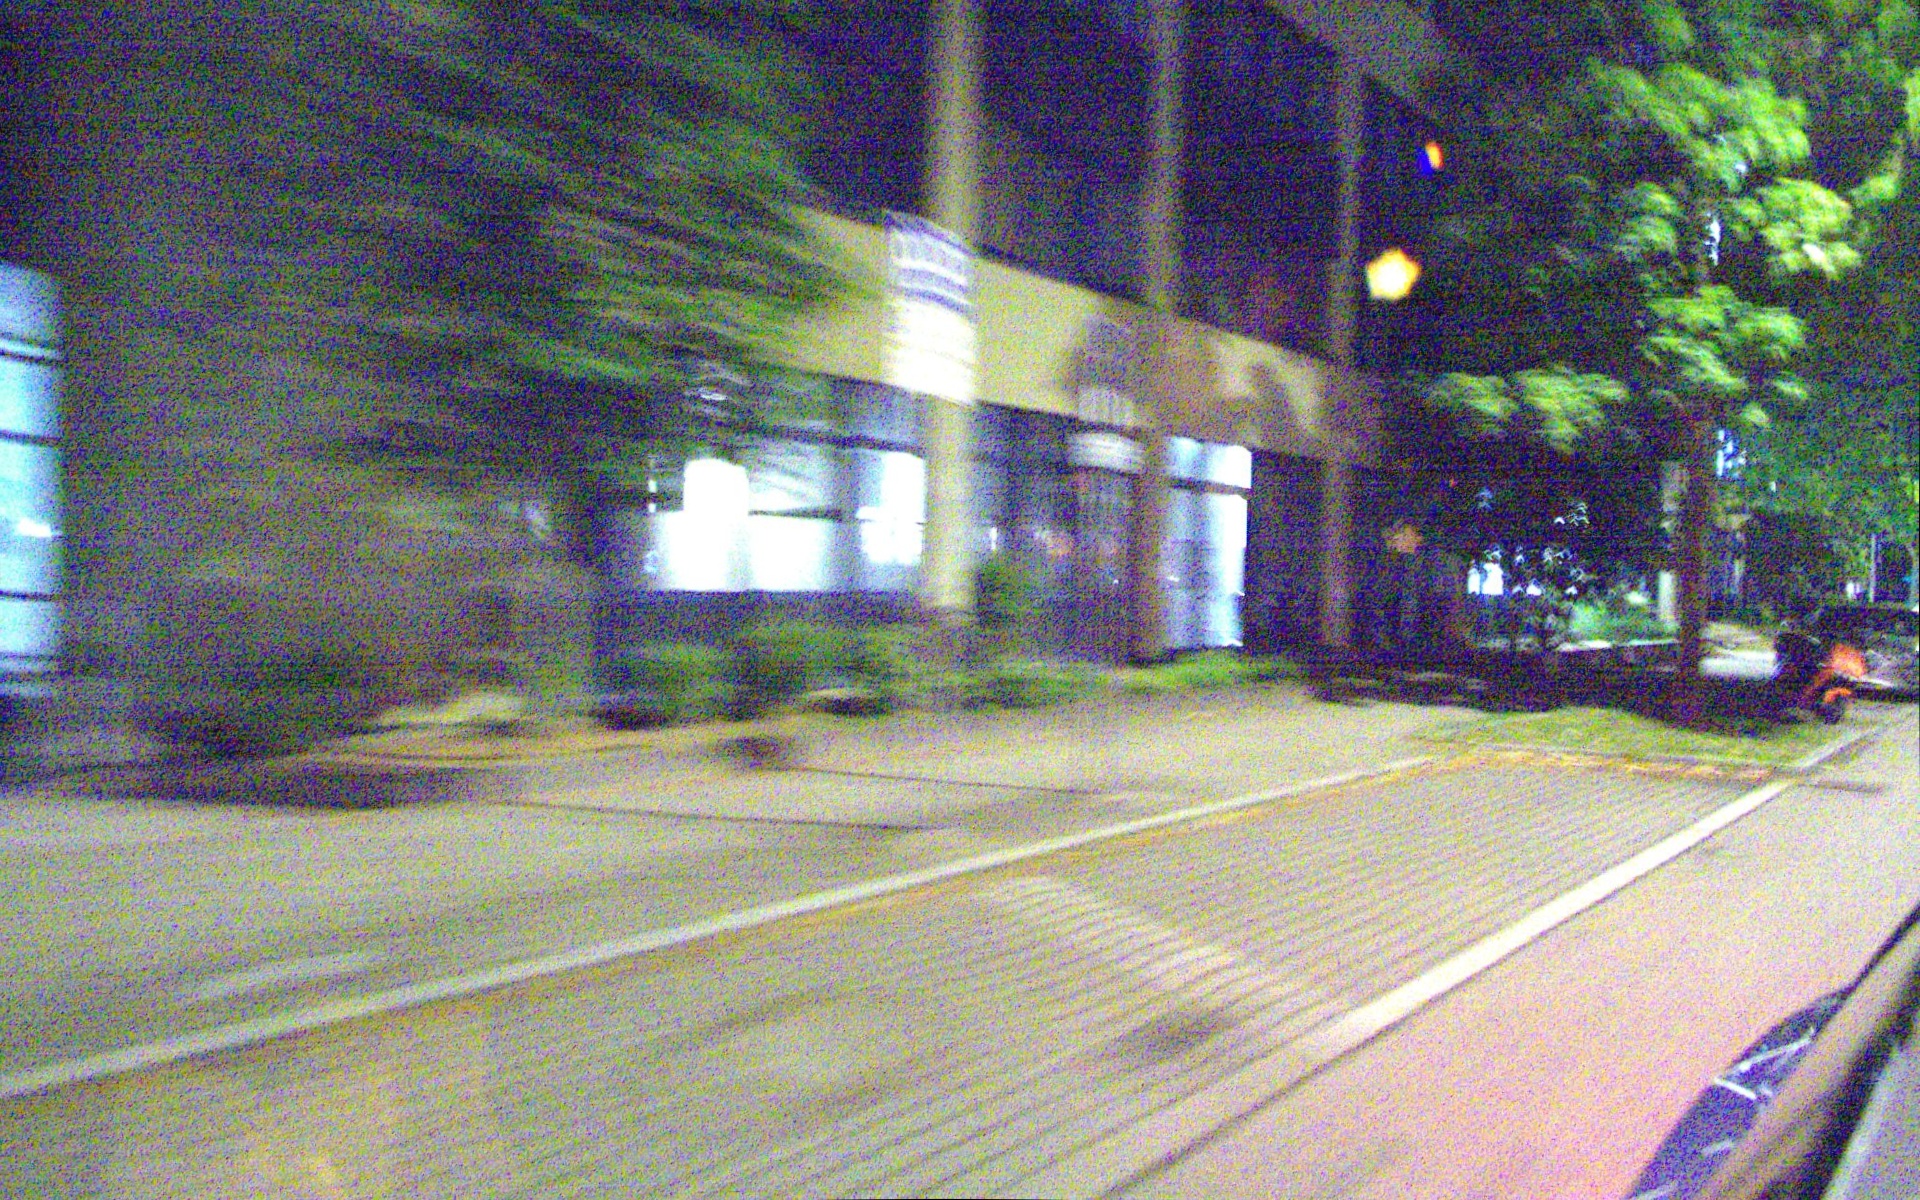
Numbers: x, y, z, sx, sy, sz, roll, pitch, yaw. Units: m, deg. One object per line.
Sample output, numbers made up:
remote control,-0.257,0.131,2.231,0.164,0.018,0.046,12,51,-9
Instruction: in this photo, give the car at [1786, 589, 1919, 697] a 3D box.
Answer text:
car,14.864,0.614,16.189,4.072,1.446,1.673,0,4,-39

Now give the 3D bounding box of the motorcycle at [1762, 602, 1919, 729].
motorcycle,10.718,0.725,12.306,0.919,1.299,2.216,3,2,24
